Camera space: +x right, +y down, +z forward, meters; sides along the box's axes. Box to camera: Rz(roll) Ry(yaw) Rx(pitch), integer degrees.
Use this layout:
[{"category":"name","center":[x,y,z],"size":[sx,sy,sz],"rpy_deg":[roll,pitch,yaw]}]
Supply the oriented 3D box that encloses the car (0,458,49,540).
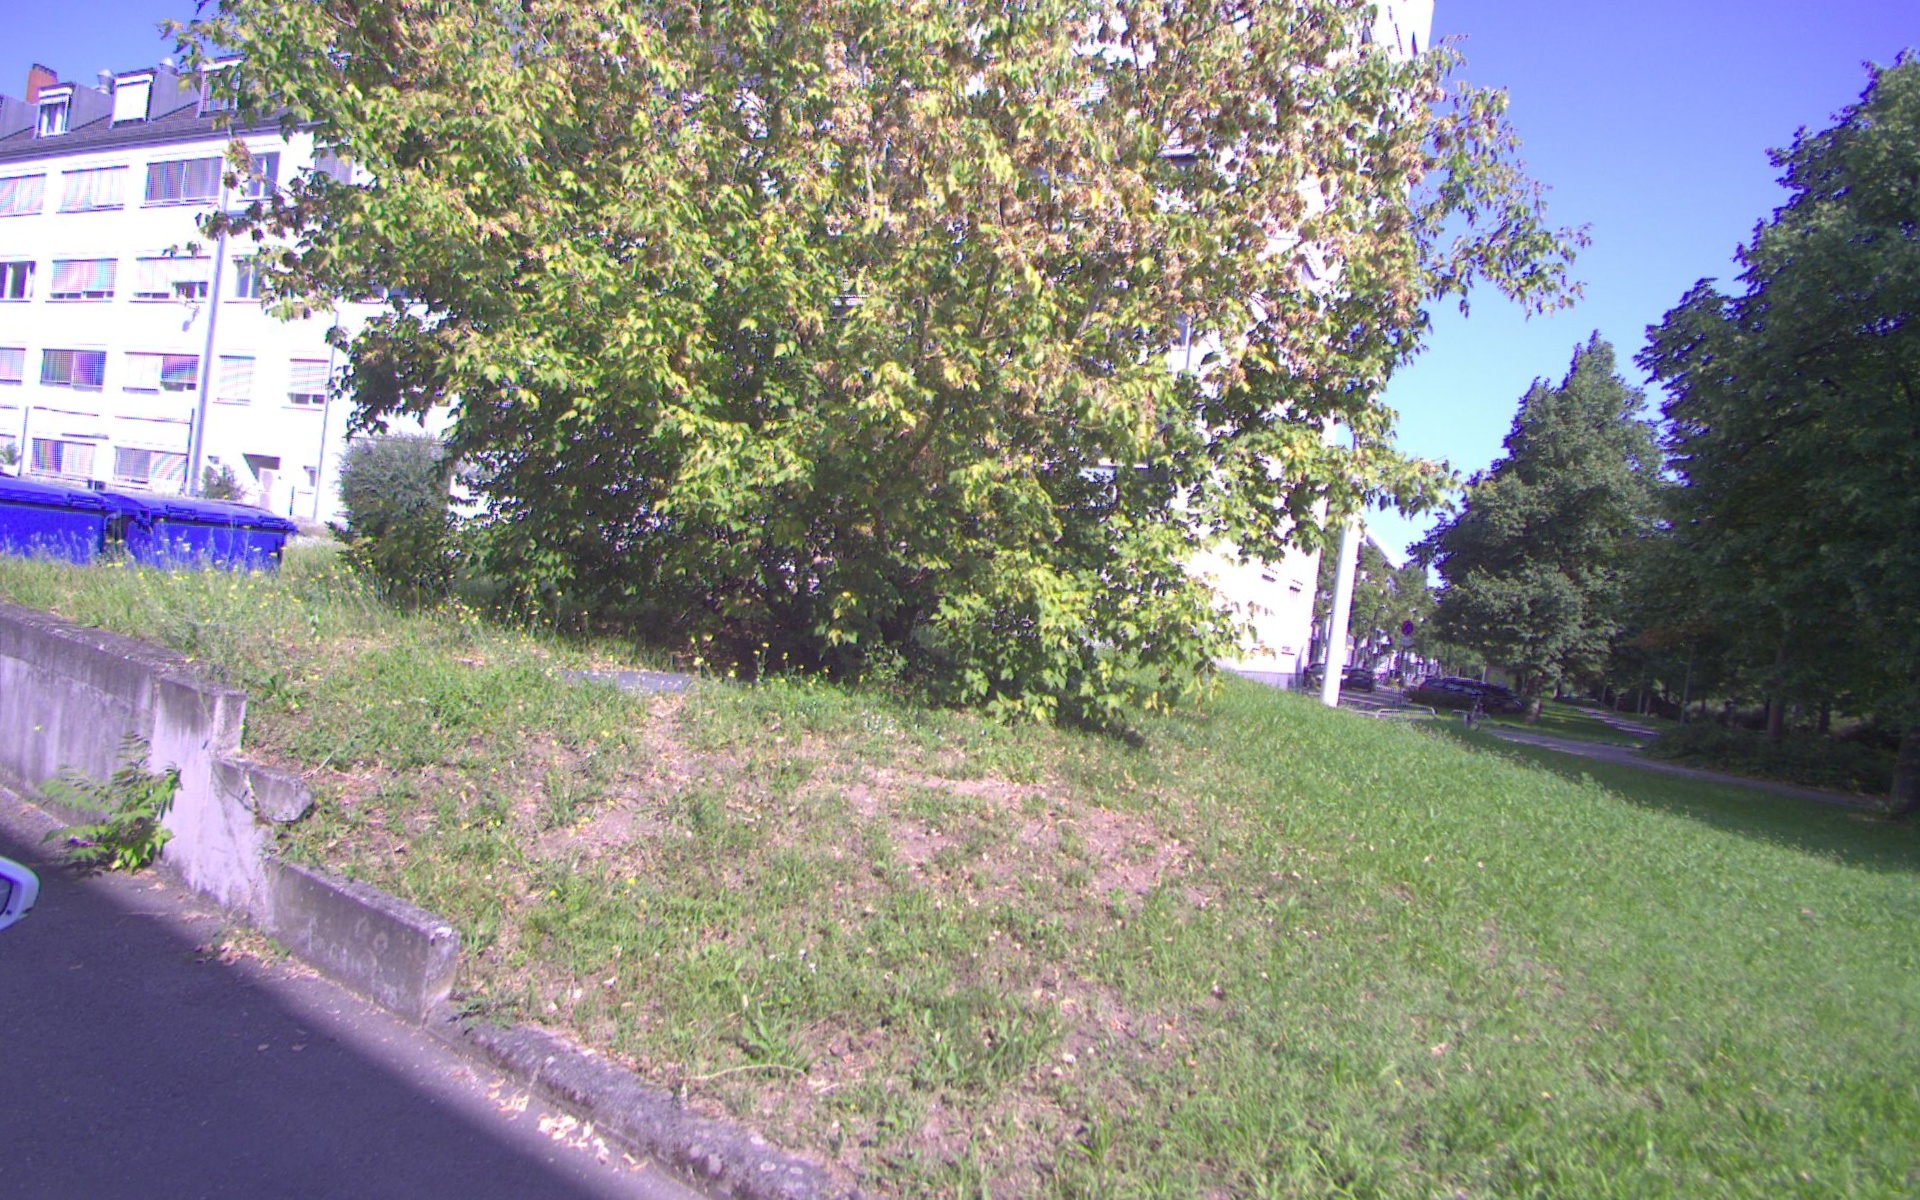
[{"category":"car","center":[-22.541,-2.438,21.500],"size":[1.740,1.713,4.125],"rpy_deg":[7,0,27]}]

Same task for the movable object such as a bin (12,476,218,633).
[{"category":"movable object such as a bin","center":[-8.400,-0.432,10.018],"size":[1.099,1.357,1.235],"rpy_deg":[7,1,34]}]

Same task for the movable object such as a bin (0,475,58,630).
[{"category":"movable object such as a bin","center":[-9.096,-0.500,8.889],"size":[1.174,1.357,1.302],"rpy_deg":[7,1,29]}]

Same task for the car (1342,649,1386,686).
[{"category":"car","center":[26.348,4.440,65.481],"size":[1.966,2.038,3.995],"rpy_deg":[7,-1,29]}]

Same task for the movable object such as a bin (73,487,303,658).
[{"category":"movable object such as a bin","center":[-6.974,-0.221,9.136],"size":[1.057,1.357,1.229],"rpy_deg":[7,1,26]}]

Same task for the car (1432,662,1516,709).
[{"category":"car","center":[29.082,4.820,56.903],"size":[3.933,2.038,1.997],"rpy_deg":[7,0,31]}]

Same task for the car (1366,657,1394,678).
[{"category":"car","center":[37.652,6.081,90.135],"size":[1.736,1.565,3.682],"rpy_deg":[7,-1,29]}]

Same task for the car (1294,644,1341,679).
[{"category":"car","center":[21.879,3.791,61.454],"size":[1.919,1.748,3.996],"rpy_deg":[7,-1,29]}]

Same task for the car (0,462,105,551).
[{"category":"car","center":[-20.081,-2.055,20.267],"size":[1.846,1.609,3.871],"rpy_deg":[7,0,25]}]

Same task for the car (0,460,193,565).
[{"category":"car","center":[-17.196,-1.690,19.004],"size":[1.862,1.609,3.810],"rpy_deg":[7,0,21]}]

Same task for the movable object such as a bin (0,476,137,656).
[{"category":"movable object such as a bin","center":[-7.642,-0.302,7.985],"size":[1.081,1.357,1.311],"rpy_deg":[7,1,27]}]

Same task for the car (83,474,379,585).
[{"category":"car","center":[-12.111,-1.122,16.936],"size":[1.771,1.567,3.618],"rpy_deg":[7,5,28]}]
